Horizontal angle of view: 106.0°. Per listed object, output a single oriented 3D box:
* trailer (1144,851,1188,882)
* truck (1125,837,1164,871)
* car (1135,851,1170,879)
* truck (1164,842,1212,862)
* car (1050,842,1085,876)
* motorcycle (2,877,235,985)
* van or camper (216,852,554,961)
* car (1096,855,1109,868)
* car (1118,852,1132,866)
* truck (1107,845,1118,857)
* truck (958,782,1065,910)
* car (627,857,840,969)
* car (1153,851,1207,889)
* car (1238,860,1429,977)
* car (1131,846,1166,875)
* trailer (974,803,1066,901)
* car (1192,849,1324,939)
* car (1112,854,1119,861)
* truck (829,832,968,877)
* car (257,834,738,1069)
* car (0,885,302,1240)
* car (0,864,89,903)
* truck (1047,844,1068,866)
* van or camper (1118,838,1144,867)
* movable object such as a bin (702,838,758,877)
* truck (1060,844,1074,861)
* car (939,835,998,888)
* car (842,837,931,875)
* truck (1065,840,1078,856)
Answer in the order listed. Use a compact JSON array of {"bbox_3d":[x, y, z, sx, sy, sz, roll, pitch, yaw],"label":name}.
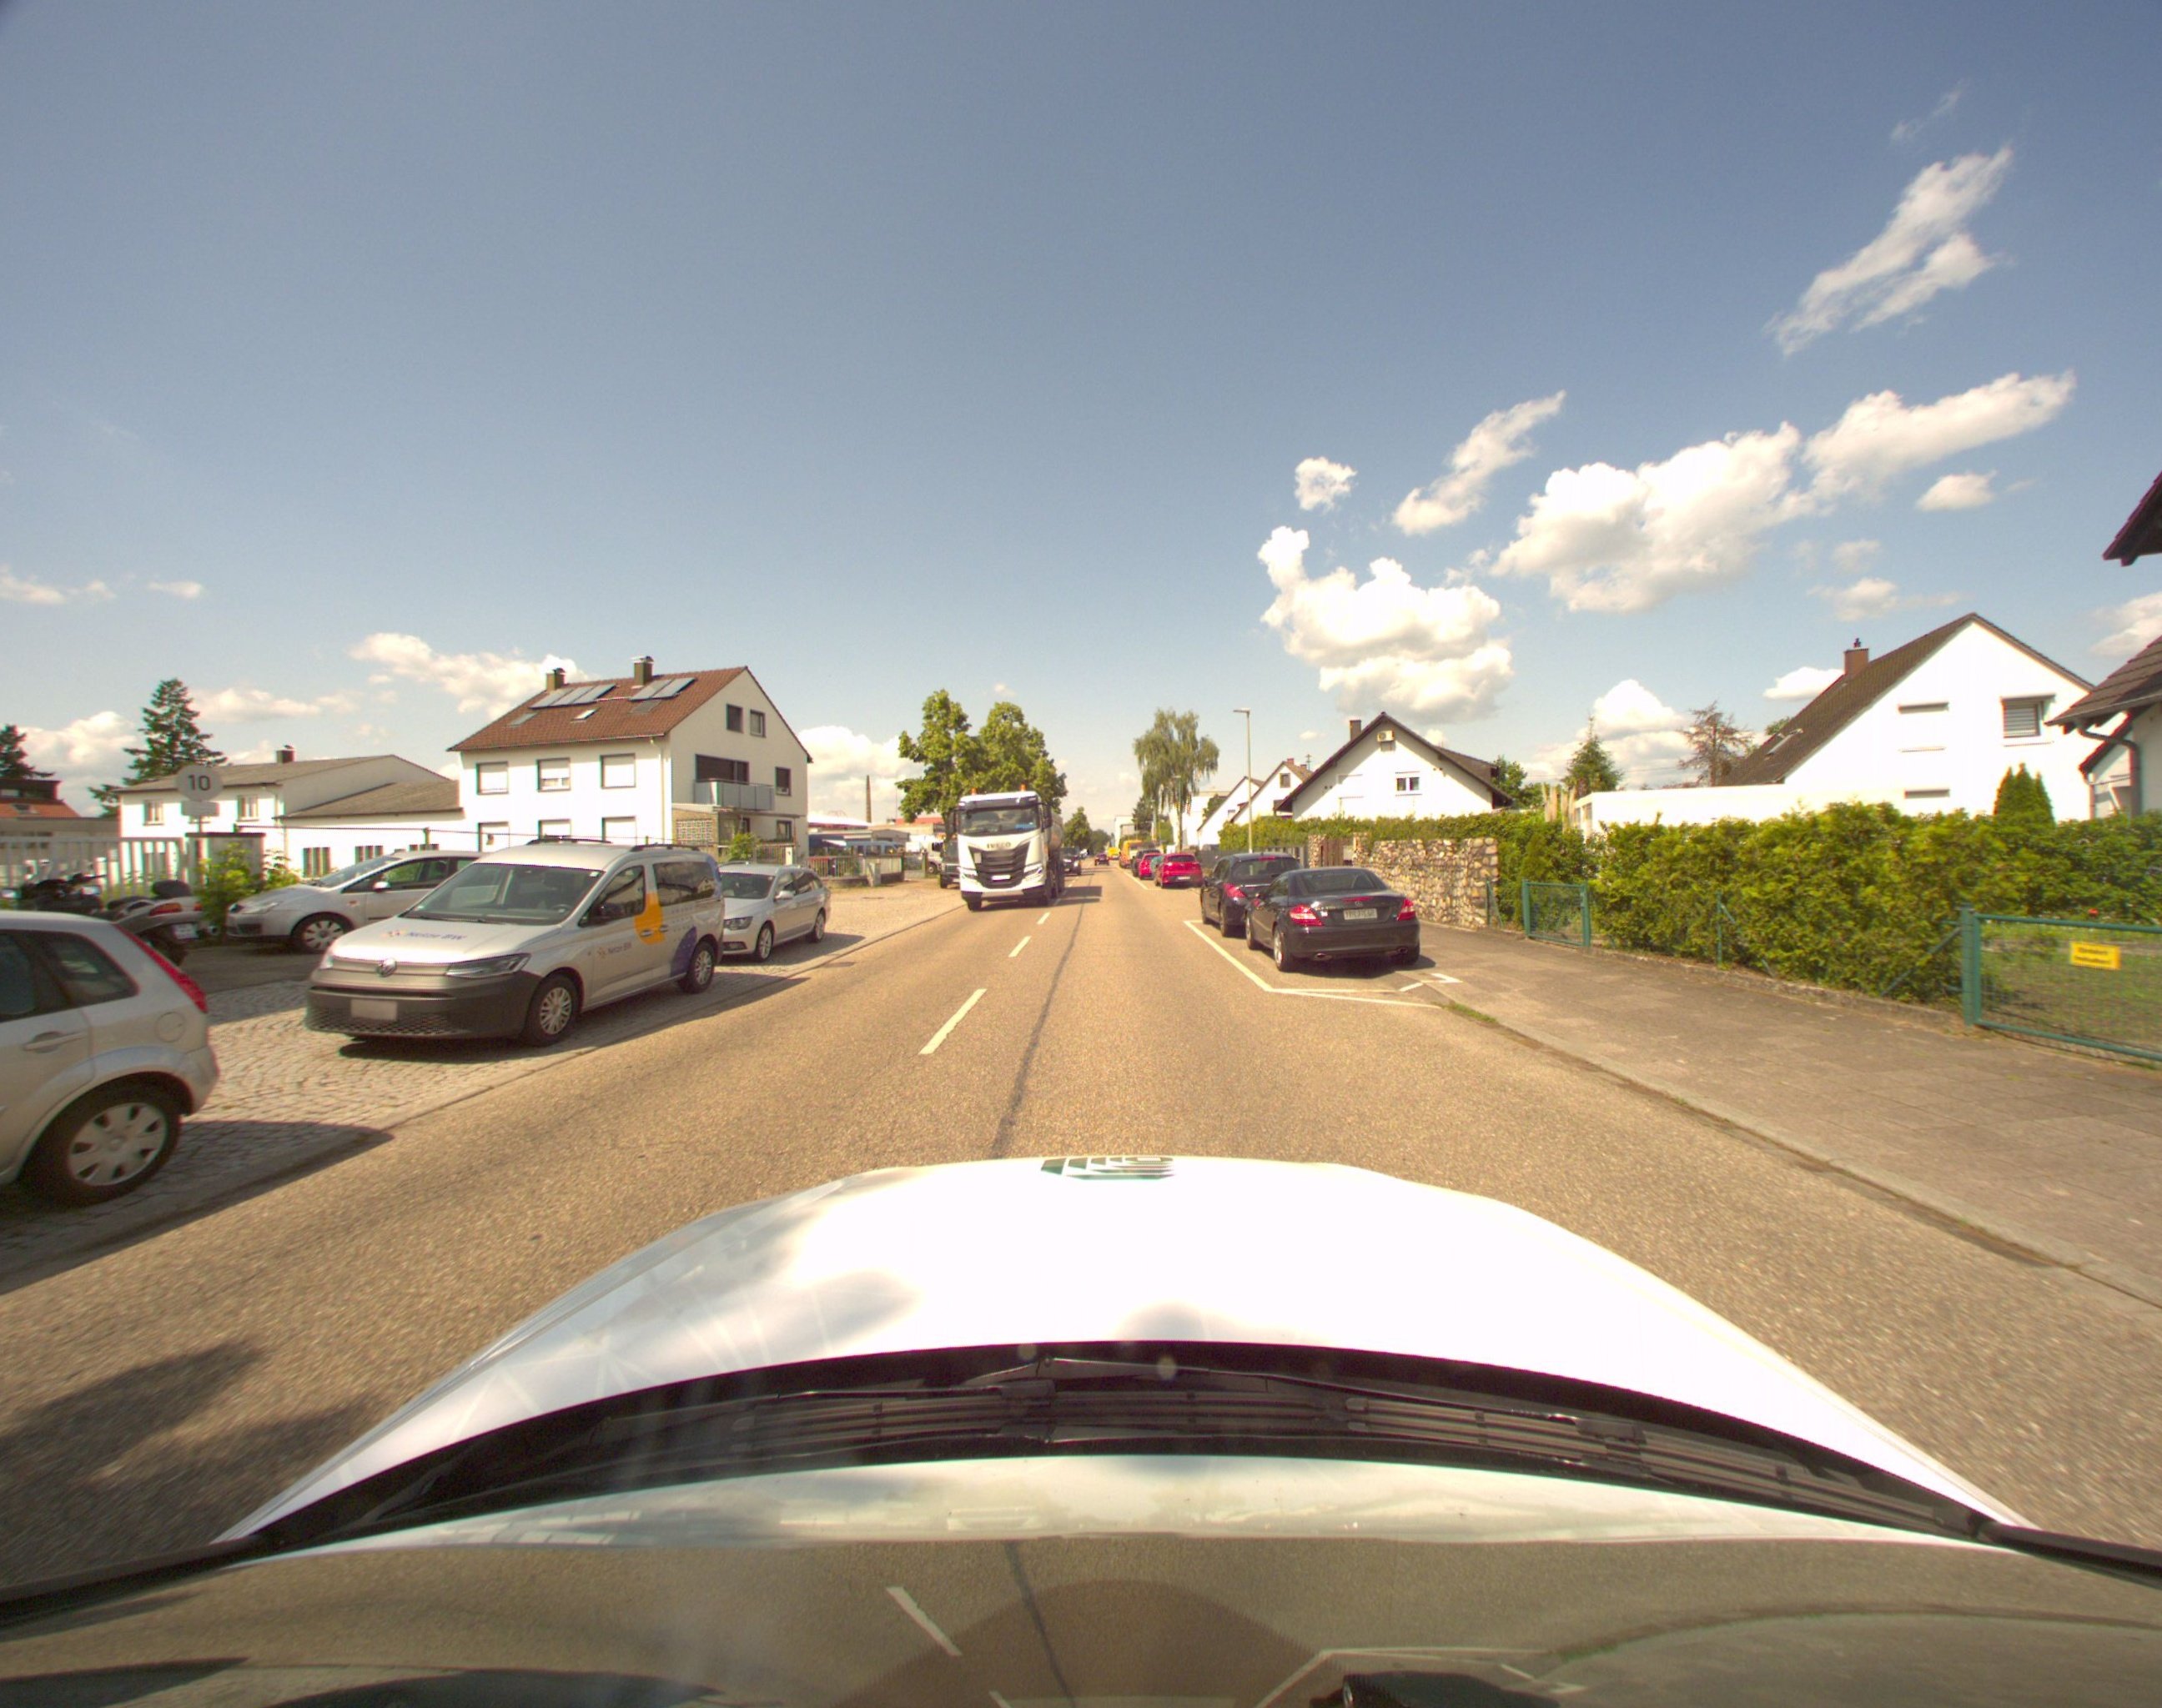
[{"bbox_3d":[4.030,0.565,39.166,1.603,1.378,4.432,-1,0,0],"label":"trailer"},{"bbox_3d":[4.640,-0.001,60.173,2.512,2.299,5.897,-2,0,2],"label":"truck"},{"bbox_3d":[3.894,0.590,44.800,1.678,1.435,4.148,-1,0,2],"label":"car"},{"bbox_3d":[14.899,-0.239,113.287,6.069,2.577,2.545,-2,0,-25],"label":"truck"},{"bbox_3d":[-0.870,0.298,54.325,2.044,2.034,5.142,-3,0,1],"label":"car"},{"bbox_3d":[-11.928,0.939,10.133,2.085,1.249,0.678,1,0,1],"label":"motorcycle"},{"bbox_3d":[-11.500,0.746,13.714,1.758,1.543,4.025,0,0,36],"label":"van or camper"},{"bbox_3d":[2.620,0.926,98.246,1.422,1.519,3.019,-2,0,2],"label":"car"},{"bbox_3d":[5.445,0.601,100.944,1.604,1.580,4.003,0,0,3],"label":"car"},{"bbox_3d":[7.474,-0.660,193.446,2.466,2.940,7.187,0,0,0],"label":"truck"},{"bbox_3d":[-2.002,-0.234,25.822,2.764,3.499,5.881,-2,0,0],"label":"truck"},{"bbox_3d":[-5.797,0.879,14.301,1.743,1.461,4.707,2,1,-1],"label":"car"},{"bbox_3d":[4.108,0.629,34.403,1.686,1.462,4.755,-1,0,0],"label":"car"},{"bbox_3d":[3.432,0.801,11.844,1.703,1.318,3.966,-1,0,3],"label":"car"},{"bbox_3d":[4.036,0.357,49.326,1.823,1.662,4.555,-1,0,2],"label":"car"},{"bbox_3d":[-2.040,-0.079,30.543,2.826,3.069,8.885,-2,0,-1],"label":"trailer"},{"bbox_3d":[3.378,0.691,16.266,1.738,1.551,4.121,0,0,0],"label":"car"},{"bbox_3d":[7.669,0.775,181.792,1.646,1.386,4.424,0,1,1],"label":"car"},{"bbox_3d":[-13.082,0.009,58.684,9.213,2.856,2.725,-2,0,5],"label":"truck"},{"bbox_3d":[-5.570,0.764,8.708,1.803,1.806,4.491,2,0,1],"label":"car"},{"bbox_3d":[-5.556,0.933,2.907,1.616,1.469,3.928,1,0,2],"label":"car"},{"bbox_3d":[-57.047,1.617,44.505,3.958,2.013,2.008,-2,0,14],"label":"car"},{"bbox_3d":[-3.132,0.087,110.334,2.211,2.857,7.074,0,0,3],"label":"truck"},{"bbox_3d":[4.724,-0.151,77.334,1.987,2.664,5.767,-1,0,-1],"label":"van or camper"},{"bbox_3d":[-14.747,0.133,34.218,1.299,1.431,1.611,-1,6,17],"label":"movable object such as a bin"},{"bbox_3d":[-2.394,-0.236,142.769,2.261,2.855,7.174,0,-1,1],"label":"truck"},{"bbox_3d":[-5.046,0.282,36.981,2.162,2.259,3.999,0,1,-1],"label":"car"},{"bbox_3d":[-12.181,0.132,51.094,4.965,2.231,2.007,-1,-1,14],"label":"car"},{"bbox_3d":[-1.738,-1.070,153.192,2.308,2.862,7.106,1,0,1],"label":"truck"}]
